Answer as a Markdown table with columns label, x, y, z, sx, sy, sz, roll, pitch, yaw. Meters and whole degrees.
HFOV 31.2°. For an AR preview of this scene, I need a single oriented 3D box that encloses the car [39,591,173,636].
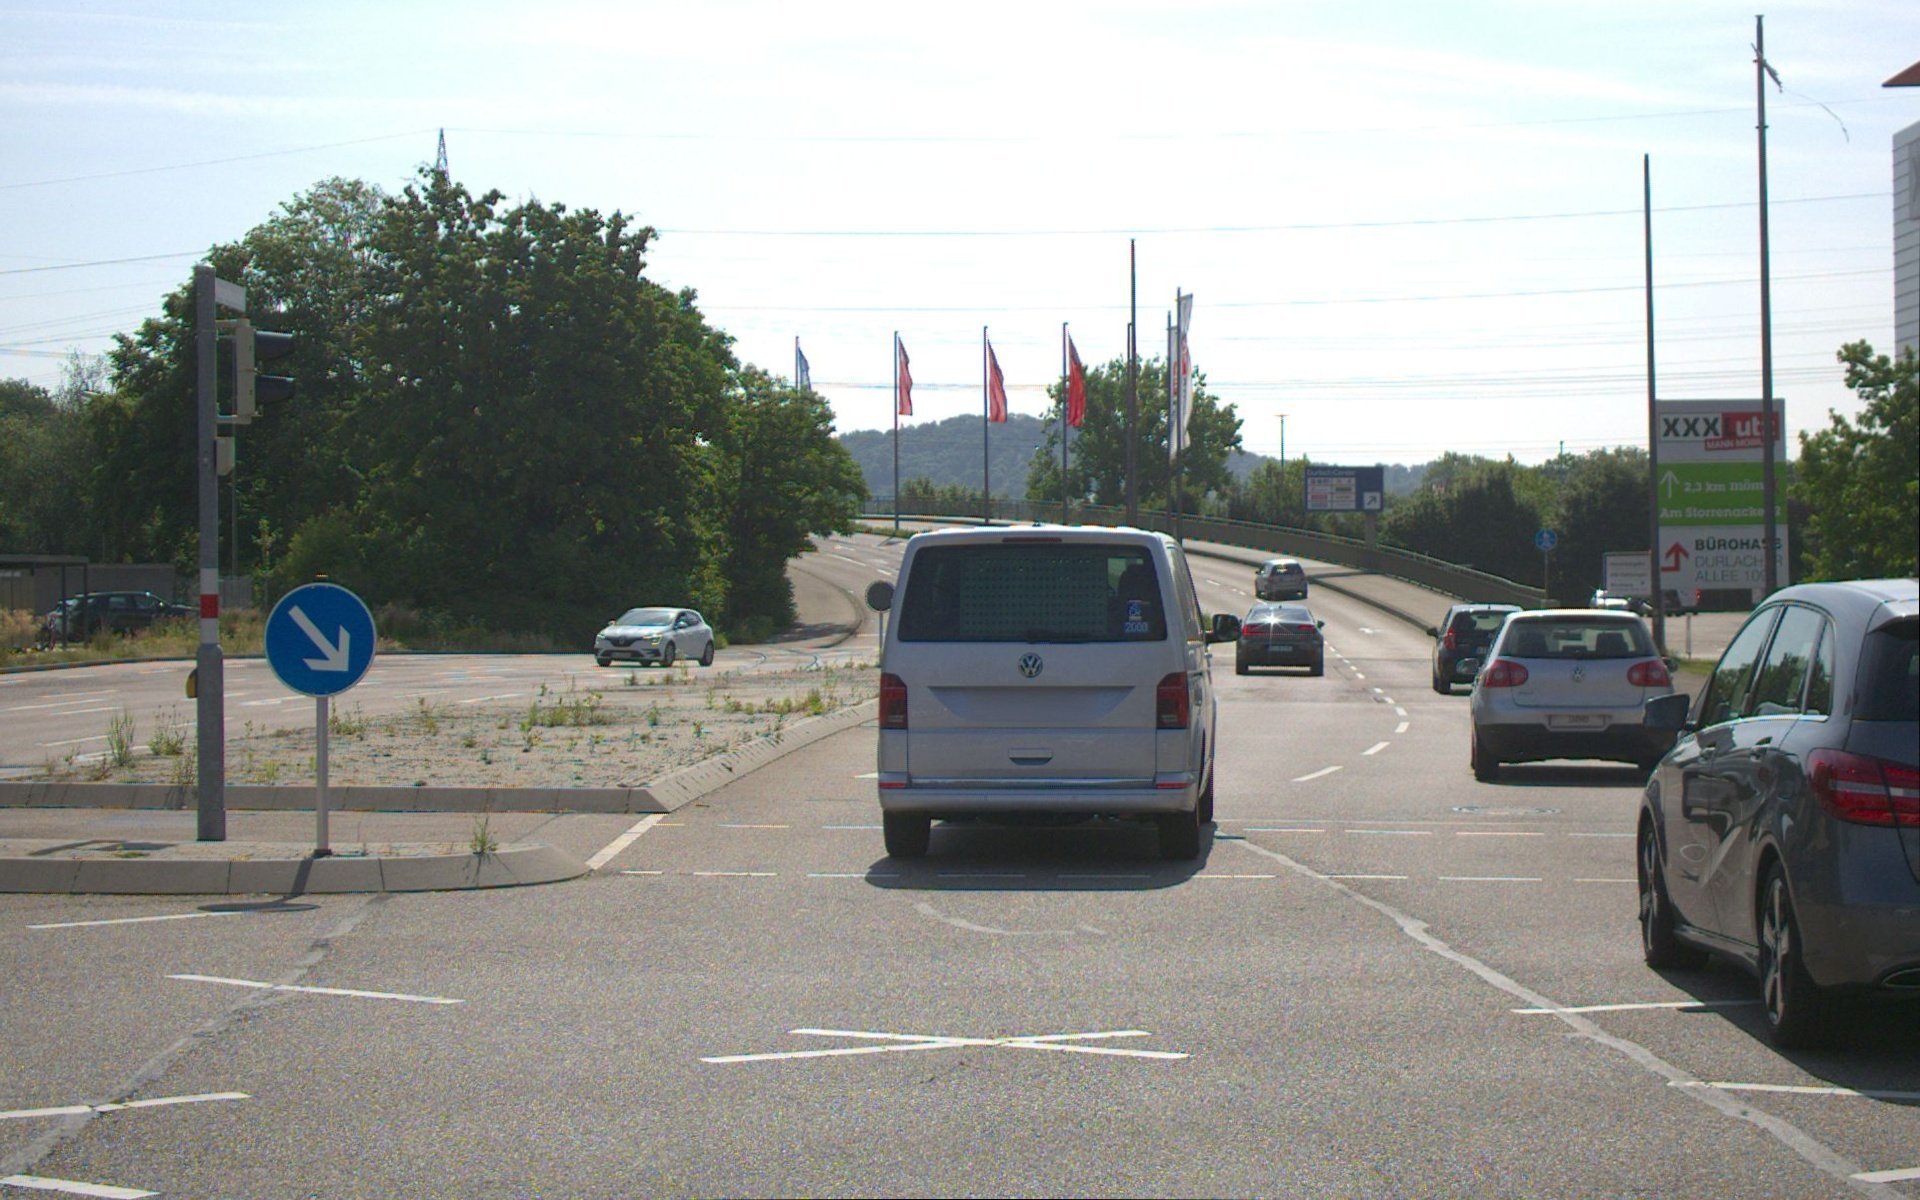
| label | x | y | z | sx | sy | sz | roll | pitch | yaw |
| --- | --- | --- | --- | --- | --- | --- | --- | --- | --- |
| car | -27.751 | 0.448 | 111.656 | 4.098 | 1.415 | 1.729 | 0 | -1 | -19 |

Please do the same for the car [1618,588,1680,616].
| label | x | y | z | sx | sy | sz | roll | pitch | yaw |
| --- | --- | --- | --- | --- | --- | --- | --- | --- | --- |
| car | 37.294 | 0.105 | 186.200 | 1.993 | 1.415 | 4.001 | 2 | 0 | -8 |

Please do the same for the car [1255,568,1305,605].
| label | x | y | z | sx | sy | sz | roll | pitch | yaw |
| --- | --- | --- | --- | --- | --- | --- | --- | --- | --- |
| car | 13.009 | -0.545 | 139.799 | 1.531 | 1.475 | 3.426 | 1 | 0 | -3 |

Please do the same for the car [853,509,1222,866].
| label | x | y | z | sx | sy | sz | roll | pitch | yaw |
| --- | --- | --- | --- | --- | --- | --- | --- | --- | --- |
| car | 0.588 | 0.467 | 21.173 | 1.917 | 1.968 | 4.296 | 0 | 0 | 6 |

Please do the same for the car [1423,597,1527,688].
| label | x | y | z | sx | sy | sz | roll | pitch | yaw |
| --- | --- | --- | --- | --- | --- | --- | --- | --- | --- |
| car | 8.768 | 0.700 | 58.732 | 1.531 | 1.475 | 3.595 | 1 | 0 | 5 |

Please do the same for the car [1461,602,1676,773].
| label | x | y | z | sx | sy | sz | roll | pitch | yaw |
| --- | --- | --- | --- | --- | --- | --- | --- | --- | --- |
| car | 5.339 | 0.763 | 30.486 | 1.667 | 1.409 | 3.681 | 0 | -1 | 7 |

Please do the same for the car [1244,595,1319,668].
| label | x | y | z | sx | sy | sz | roll | pitch | yaw |
| --- | --- | --- | --- | --- | --- | --- | --- | --- | --- |
| car | 6.880 | 0.658 | 73.409 | 1.531 | 1.475 | 3.246 | 1 | 0 | 6 |

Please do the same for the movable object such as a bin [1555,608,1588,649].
| label | x | y | z | sx | sy | sz | roll | pitch | yaw |
| --- | --- | --- | --- | --- | --- | --- | --- | --- | --- |
| movable object such as a bin | 17.088 | 0.789 | 96.090 | 0.810 | 1.109 | 1.182 | 0 | 0 | 5 |

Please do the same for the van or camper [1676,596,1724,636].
| label | x | y | z | sx | sy | sz | roll | pitch | yaw |
| --- | --- | --- | --- | --- | --- | --- | --- | --- | --- |
| van or camper | 41.876 | 0.929 | 194.554 | 2.099 | 2.171 | 5.436 | 2 | 0 | 7 |

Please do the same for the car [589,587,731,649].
| label | x | y | z | sx | sy | sz | roll | pitch | yaw |
| --- | --- | --- | --- | --- | --- | --- | --- | --- | --- |
| car | -7.290 | 0.462 | 83.956 | 1.783 | 1.455 | 4.329 | -1 | -1 | 20 |

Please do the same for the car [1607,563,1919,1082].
| label | x | y | z | sx | sy | sz | roll | pitch | yaw |
| --- | --- | --- | --- | --- | --- | --- | --- | --- | --- |
| car | 3.495 | 0.672 | 12.229 | 1.774 | 1.534 | 4.137 | 1 | 0 | 3 |

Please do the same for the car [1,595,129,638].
| label | x | y | z | sx | sy | sz | roll | pitch | yaw |
| --- | --- | --- | --- | --- | --- | --- | --- | --- | --- |
| car | -30.375 | 0.565 | 116.618 | 4.098 | 1.415 | 1.729 | 0 | -1 | -19 |

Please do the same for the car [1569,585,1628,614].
| label | x | y | z | sx | sy | sz | roll | pitch | yaw |
| --- | --- | --- | --- | --- | --- | --- | --- | --- | --- |
| car | 34.577 | -0.009 | 186.193 | 1.883 | 1.514 | 4.001 | 2 | 0 | -9 |

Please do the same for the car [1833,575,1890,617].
| label | x | y | z | sx | sy | sz | roll | pitch | yaw |
| --- | --- | --- | --- | --- | --- | --- | --- | --- | --- |
| car | 39.226 | -0.185 | 149.697 | 1.673 | 1.745 | 4.093 | 0 | 1 | 4 |
